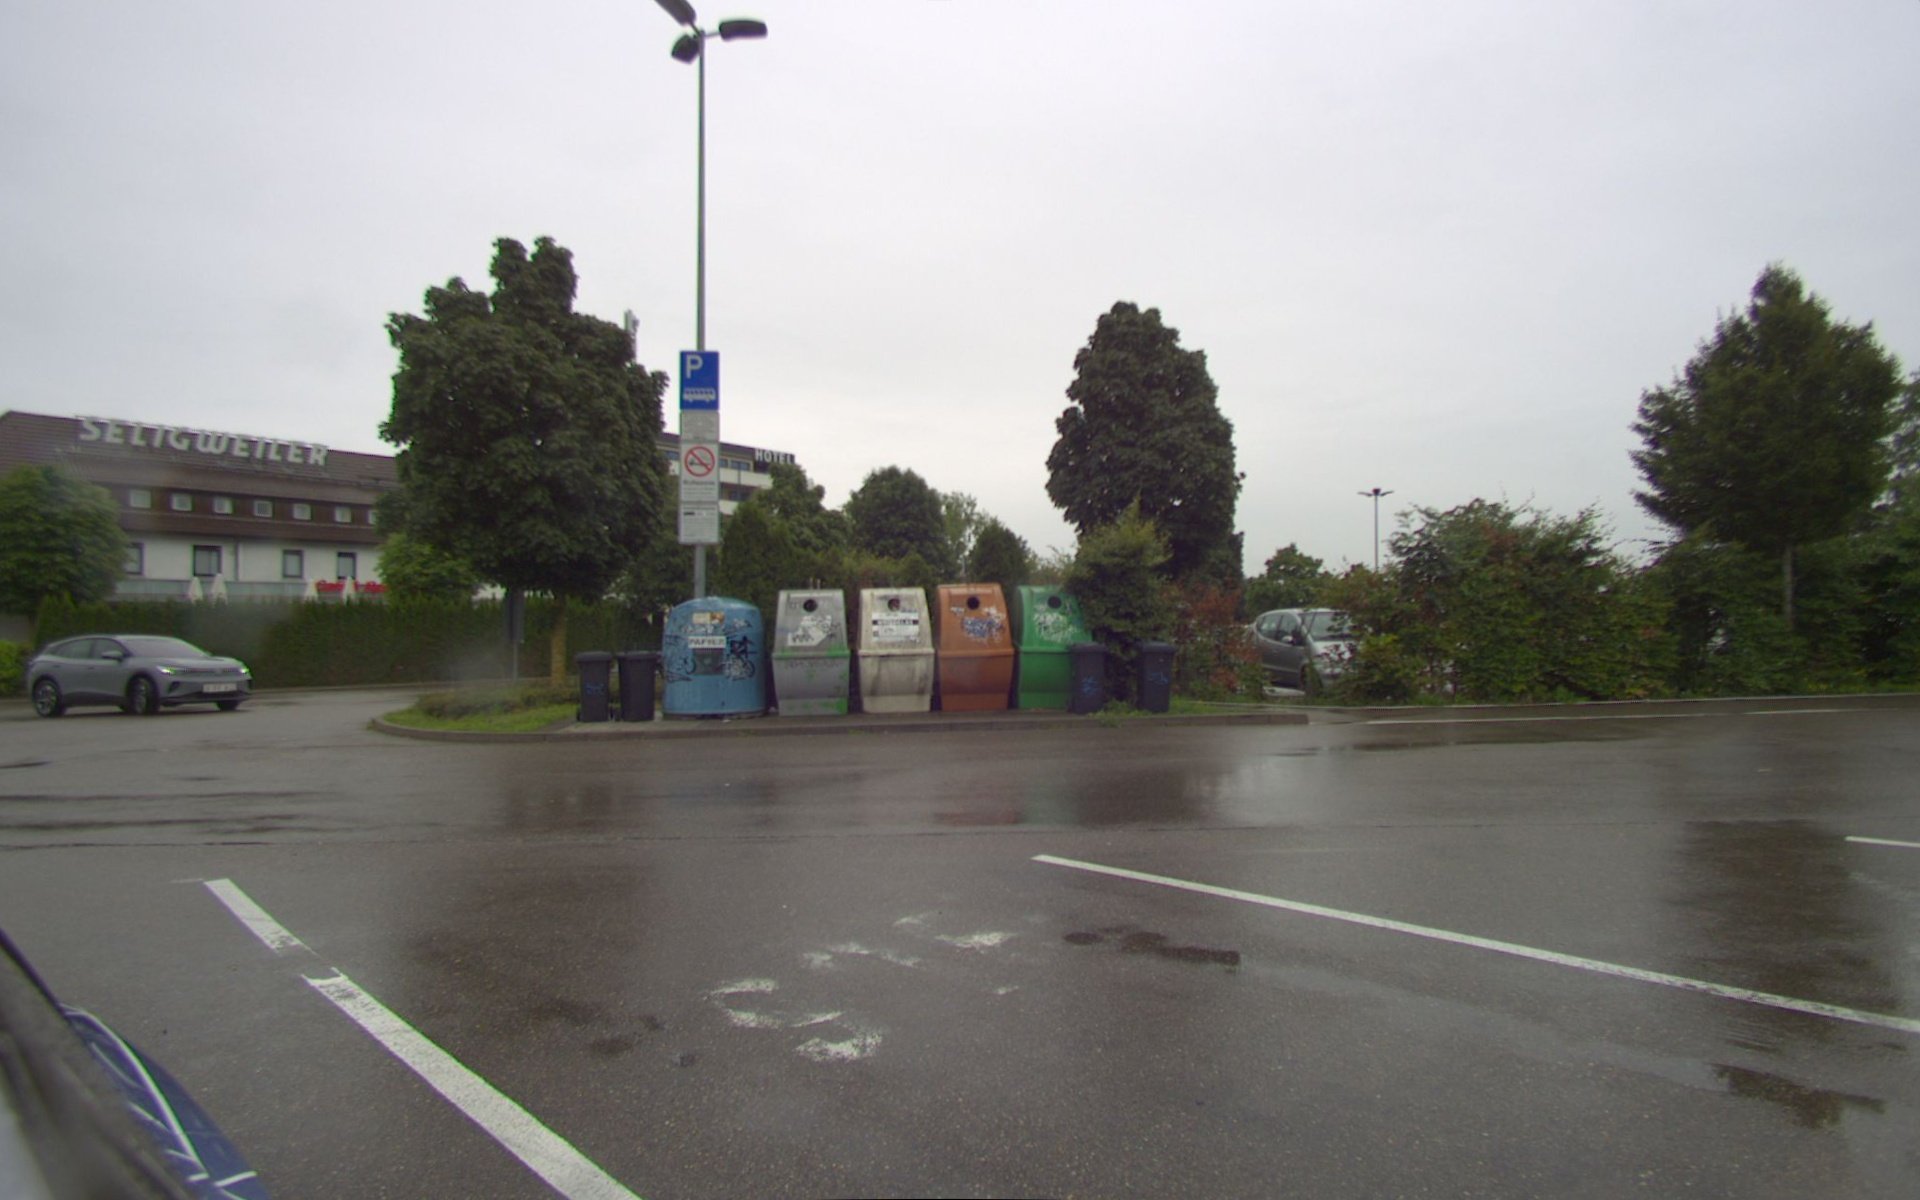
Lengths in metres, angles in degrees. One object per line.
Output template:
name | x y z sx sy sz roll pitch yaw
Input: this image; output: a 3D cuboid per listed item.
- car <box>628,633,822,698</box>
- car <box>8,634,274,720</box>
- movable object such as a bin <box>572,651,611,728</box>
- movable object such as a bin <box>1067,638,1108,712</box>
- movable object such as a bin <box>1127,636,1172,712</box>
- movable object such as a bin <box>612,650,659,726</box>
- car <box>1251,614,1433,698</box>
car | -5.729 1.590 24.928 4.279 1.460 1.864 -2 -2 9
car | -16.607 1.544 20.584 4.458 1.586 1.990 -2 -3 15
movable object such as a bin | -4.852 1.163 13.319 0.427 0.956 0.475 -1 -1 -25
movable object such as a bin | 1.642 0.961 13.090 0.433 0.930 0.508 -2 -2 2
movable object such as a bin | 2.391 0.930 12.817 0.432 0.923 0.509 -2 -2 -1
movable object such as a bin | -4.267 1.140 13.295 0.450 0.956 0.400 -3 -1 41
car | 6.537 0.905 17.776 1.783 1.278 3.647 -1 -1 0
